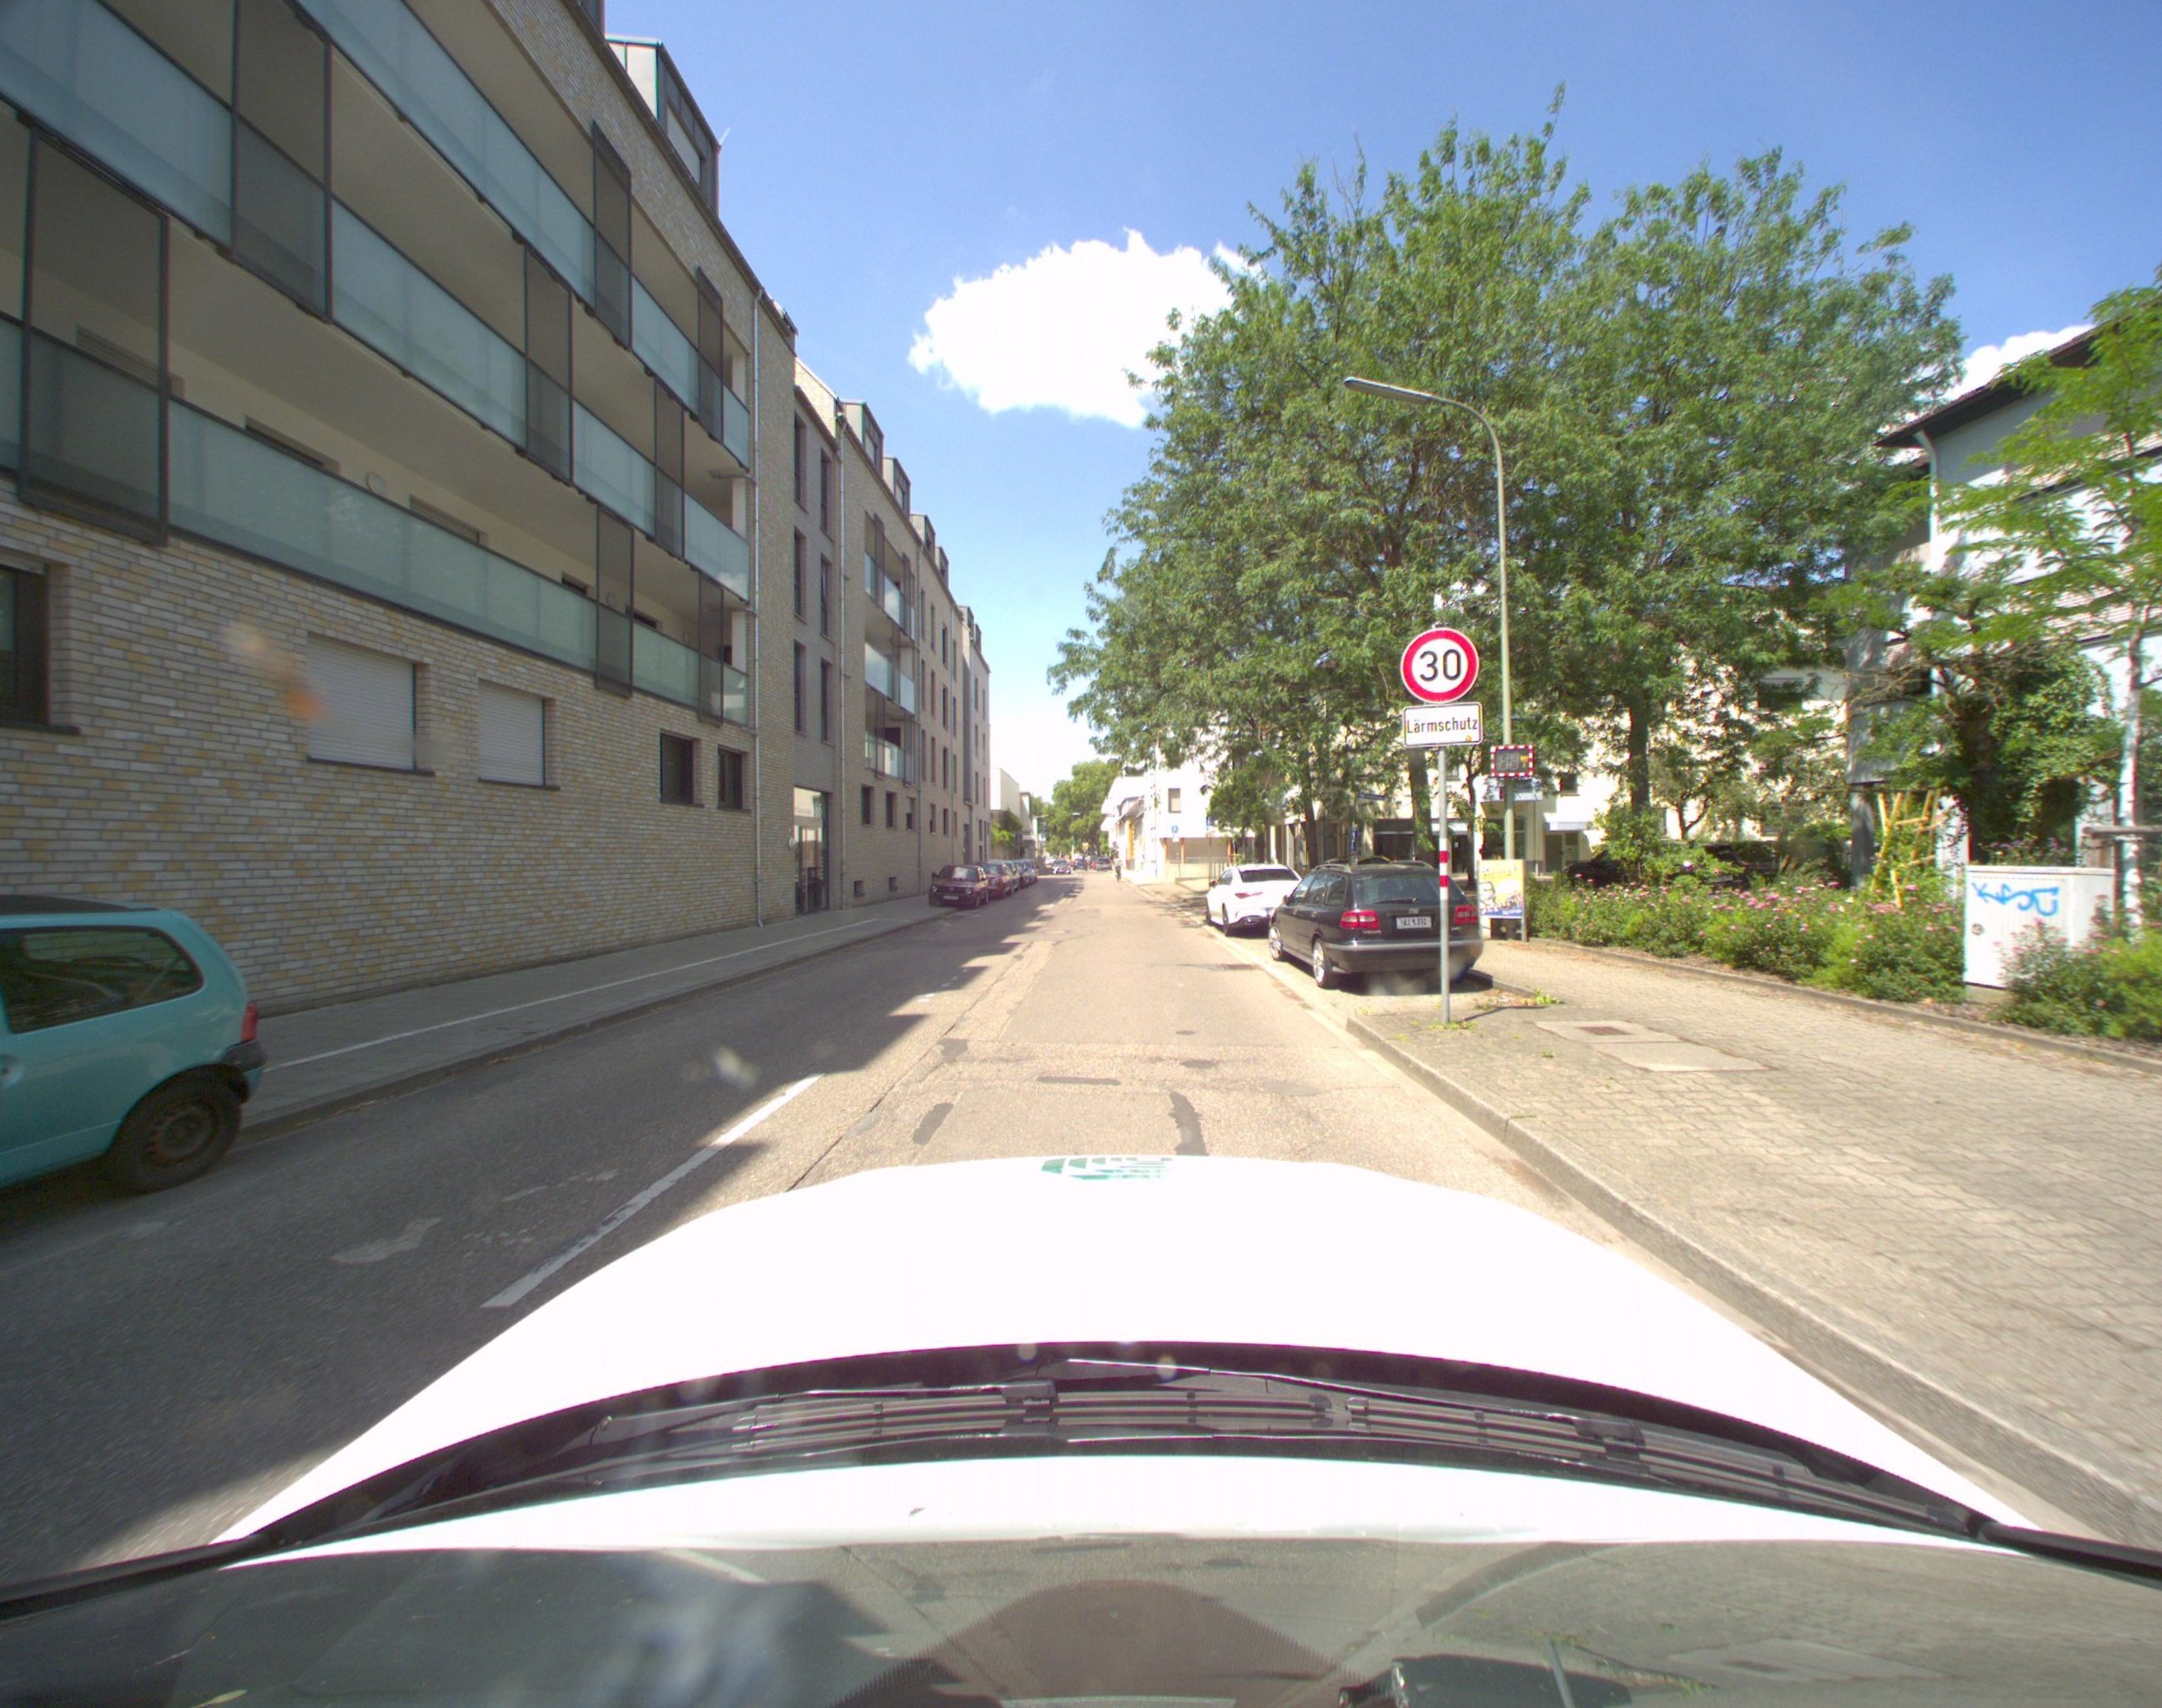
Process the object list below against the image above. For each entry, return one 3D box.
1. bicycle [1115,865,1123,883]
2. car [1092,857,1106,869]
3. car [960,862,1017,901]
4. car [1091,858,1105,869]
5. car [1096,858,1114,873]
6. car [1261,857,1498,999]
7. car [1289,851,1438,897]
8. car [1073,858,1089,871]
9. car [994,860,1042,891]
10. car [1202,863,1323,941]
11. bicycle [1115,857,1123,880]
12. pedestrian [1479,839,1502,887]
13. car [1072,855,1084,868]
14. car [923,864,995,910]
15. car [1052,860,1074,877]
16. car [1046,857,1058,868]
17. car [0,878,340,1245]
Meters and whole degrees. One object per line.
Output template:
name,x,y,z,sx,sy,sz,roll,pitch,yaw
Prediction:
bicycle,2.471,1.304,53.357,0.481,1.115,1.196,-1,-1,2
car,2.392,1.178,109.936,1.818,1.642,3.536,-1,0,2
car,-3.707,1.067,33.215,1.726,1.442,4.002,-1,0,2
car,2.141,1.220,104.700,1.746,1.452,3.680,-1,0,2
car,2.767,1.284,93.422,1.986,1.618,4.001,0,0,1
car,3.623,0.804,10.682,1.686,1.420,4.001,-3,-1,2
car,9.223,0.657,26.616,4.396,1.381,1.985,1,0,-23
car,0.014,1.262,97.132,1.708,1.402,4.003,-1,0,3
car,-3.092,1.026,40.445,1.819,1.420,4.003,1,0,3
car,3.697,0.928,17.261,1.772,1.420,4.001,-1,0,2
bicycle,2.465,0.957,53.346,0.475,1.490,0.576,-1,-1,1
pedestrian,15.916,0.354,31.649,0.589,1.859,0.607,-1,-1,44
car,-0.452,1.175,127.918,1.833,2.013,4.000,-1,0,0
car,-4.127,1.078,28.213,1.726,1.442,4.002,-1,0,2
car,-1.675,1.375,76.738,1.987,1.519,4.000,-1,0,0
car,-5.658,1.660,157.365,1.986,2.014,4.001,-1,0,2
car,-5.285,0.878,3.000,1.584,1.456,3.705,1,0,2
